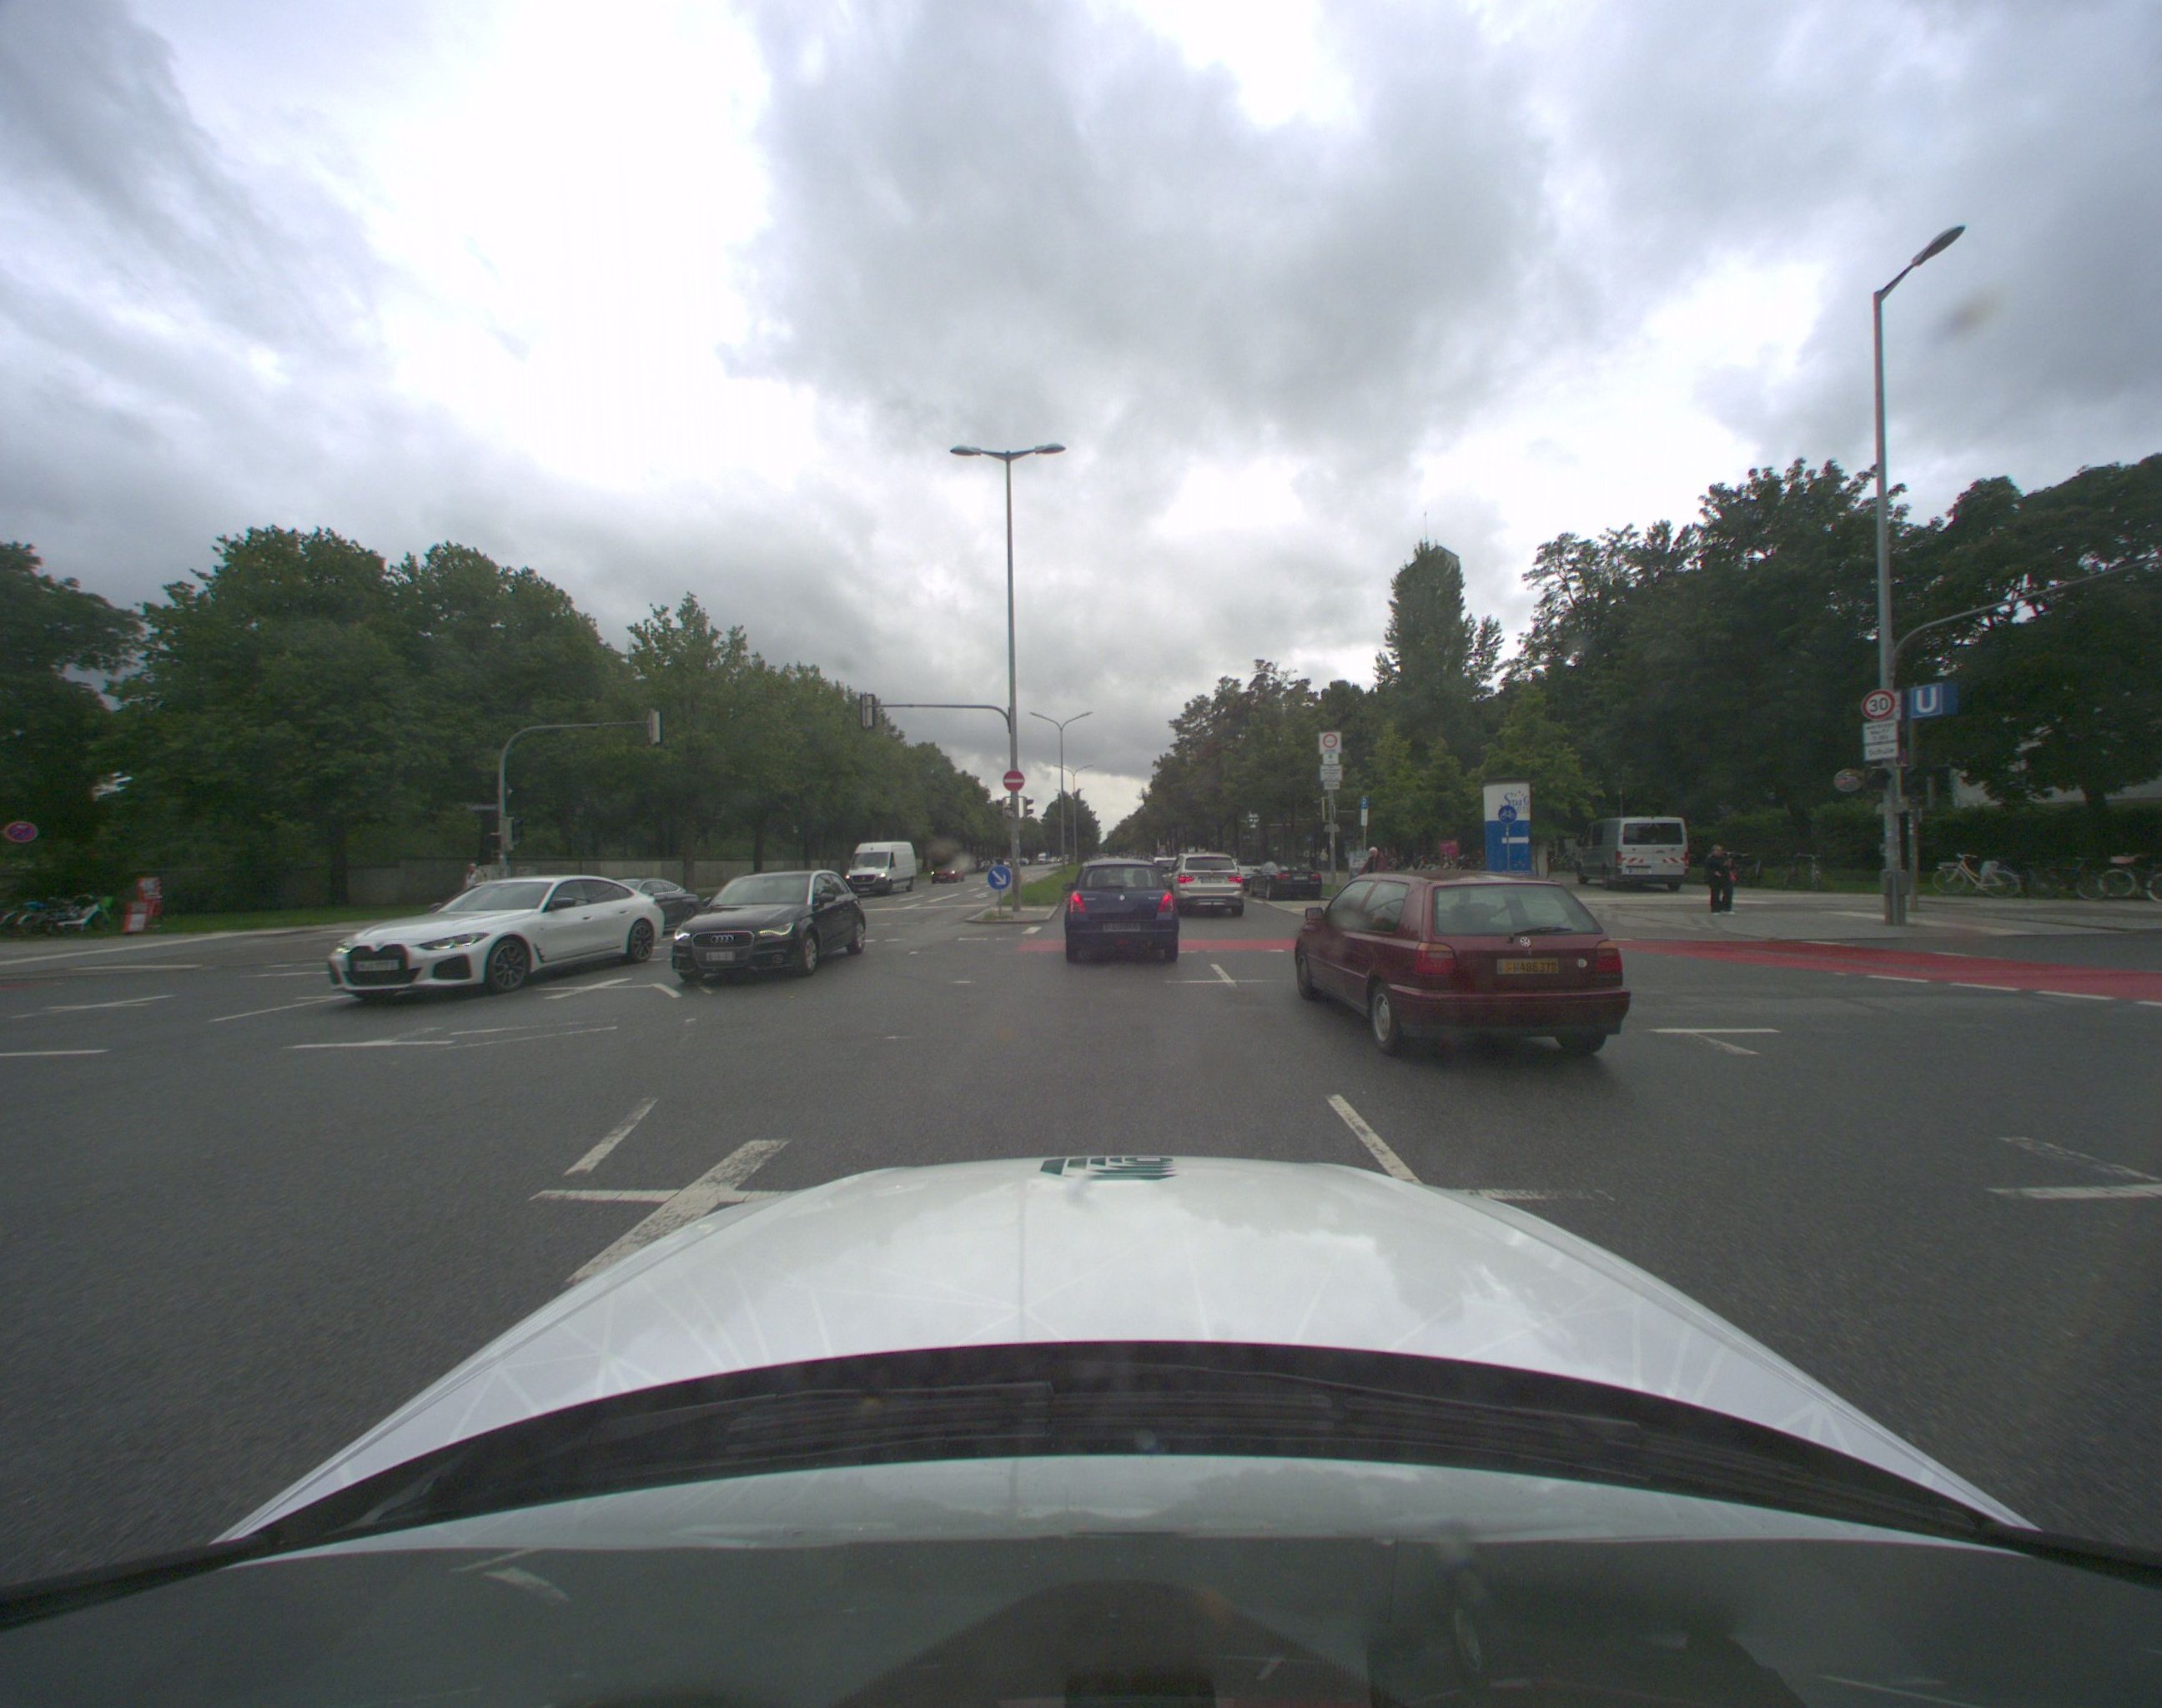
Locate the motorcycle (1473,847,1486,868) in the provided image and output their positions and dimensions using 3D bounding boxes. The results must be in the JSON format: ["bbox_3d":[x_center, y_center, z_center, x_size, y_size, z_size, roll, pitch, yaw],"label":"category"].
[{"bbox_3d":[23.345,0.184,47.737,0.650,1.177,1.824,-1,0,26],"label":"motorcycle"}]

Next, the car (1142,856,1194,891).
[{"bbox_3d":[3.852,0.844,36.667,1.844,1.447,4.096,-1,0,0],"label":"car"}]

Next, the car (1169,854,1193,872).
[{"bbox_3d":[9.001,0.788,73.241,1.711,1.508,4.224,-1,0,1],"label":"car"}]

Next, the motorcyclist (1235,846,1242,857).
[{"bbox_3d":[25.132,-0.374,129.832,0.688,1.737,0.953,-6,0,1],"label":"motorcyclist"}]

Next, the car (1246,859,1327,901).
[{"bbox_3d":[7.284,0.880,29.355,1.705,1.360,4.620,-1,0,-1],"label":"car"}]

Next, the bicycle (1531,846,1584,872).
[{"bbox_3d":[24.516,0.252,41.906,2.330,1.157,0.529,-4,0,0],"label":"bicycle"}]

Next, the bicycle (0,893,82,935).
[{"bbox_3d":[-34.057,1.927,25.972,0.832,1.186,2.884,-1,0,0],"label":"bicycle"}]

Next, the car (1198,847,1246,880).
[{"bbox_3d":[7.363,0.448,42.868,1.741,1.547,4.642,-2,0,1],"label":"car"}]

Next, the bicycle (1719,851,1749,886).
[{"bbox_3d":[22.861,0.489,28.501,0.709,1.153,2.142,-2,0,41],"label":"bicycle"}]

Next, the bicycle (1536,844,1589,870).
[{"bbox_3d":[24.432,0.155,41.313,2.330,1.157,0.529,-4,0,0],"label":"bicycle"}]

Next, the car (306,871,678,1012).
[{"bbox_3d":[-7.897,1.044,11.659,1.721,1.487,4.745,-1,0,2],"label":"car"}]

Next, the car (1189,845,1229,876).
[{"bbox_3d":[7.494,0.330,48.059,1.741,1.724,4.908,0,0,2],"label":"car"}]

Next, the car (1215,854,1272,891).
[{"bbox_3d":[7.406,0.797,37.492,1.707,1.547,4.381,-1,0,0],"label":"car"}]

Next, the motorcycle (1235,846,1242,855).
[{"bbox_3d":[25.111,-0.534,130.128,0.693,1.290,2.067,-6,0,1],"label":"motorcycle"}]

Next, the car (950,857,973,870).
[{"bbox_3d":[-13.755,1.087,94.214,1.793,1.490,4.916,0,0,1],"label":"car"}]

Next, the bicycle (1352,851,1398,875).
[{"bbox_3d":[16.350,0.501,45.338,2.330,1.157,0.529,-4,0,0],"label":"bicycle"}]

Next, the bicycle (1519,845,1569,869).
[{"bbox_3d":[24.743,0.154,43.544,2.330,1.157,0.529,-4,0,0],"label":"bicycle"}]

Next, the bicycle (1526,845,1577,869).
[{"bbox_3d":[24.781,0.155,42.908,2.330,1.157,0.529,-4,0,0],"label":"bicycle"}]

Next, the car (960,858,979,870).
[{"bbox_3d":[-13.612,1.199,99.590,1.653,1.396,4.708,0,0,1],"label":"car"}]

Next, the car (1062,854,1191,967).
[{"bbox_3d":[0.632,0.796,13.430,1.783,1.555,3.999,-1,0,0],"label":"car"}]

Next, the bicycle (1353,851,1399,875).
[{"bbox_3d":[16.090,0.501,44.426,2.337,1.157,0.528,-4,0,-8],"label":"bicycle"}]

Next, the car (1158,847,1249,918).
[{"bbox_3d":[3.269,0.714,22.425,1.844,1.743,4.096,-1,0,0],"label":"car"}]

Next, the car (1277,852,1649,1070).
[{"bbox_3d":[3.077,0.730,7.522,1.616,1.454,3.950,-1,0,1],"label":"car"}]

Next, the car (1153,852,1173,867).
[{"bbox_3d":[9.197,0.619,91.135,1.780,1.675,4.596,-1,0,1],"label":"car"}]

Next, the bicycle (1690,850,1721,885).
[{"bbox_3d":[22.284,0.469,29.051,0.709,1.153,2.142,-2,0,41],"label":"bicycle"}]

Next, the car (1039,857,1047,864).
[{"bbox_3d":[-9.297,1.514,199.187,1.907,1.542,4.187,-1,0,0],"label":"car"}]

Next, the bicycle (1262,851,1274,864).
[{"bbox_3d":[18.274,0.342,79.772,0.643,1.280,2.551,-1,0,1],"label":"bicycle"}]

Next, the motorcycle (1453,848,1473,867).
[{"bbox_3d":[22.659,0.198,48.323,0.650,1.062,1.825,-2,0,39],"label":"motorcycle"}]

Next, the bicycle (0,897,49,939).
[{"bbox_3d":[-32.411,1.930,23.992,0.832,1.186,2.496,-1,0,0],"label":"bicycle"}]

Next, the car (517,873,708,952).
[{"bbox_3d":[-10.423,1.225,18.550,1.717,1.416,4.217,-3,0,2],"label":"car"}]

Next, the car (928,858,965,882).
[{"bbox_3d":[-9.543,1.111,58.053,1.737,1.452,4.658,-3,0,1],"label":"car"}]

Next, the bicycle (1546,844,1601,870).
[{"bbox_3d":[24.207,0.155,40.077,2.330,1.157,0.529,-4,0,0],"label":"bicycle"}]

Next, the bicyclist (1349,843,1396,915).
[{"bbox_3d":[7.404,0.626,20.676,0.831,1.764,0.738,-1,-1,-34],"label":"bicyclist"}]

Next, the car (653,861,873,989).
[{"bbox_3d":[-4.321,0.873,11.713,1.634,1.487,3.781,-1,0,0],"label":"car"}]
